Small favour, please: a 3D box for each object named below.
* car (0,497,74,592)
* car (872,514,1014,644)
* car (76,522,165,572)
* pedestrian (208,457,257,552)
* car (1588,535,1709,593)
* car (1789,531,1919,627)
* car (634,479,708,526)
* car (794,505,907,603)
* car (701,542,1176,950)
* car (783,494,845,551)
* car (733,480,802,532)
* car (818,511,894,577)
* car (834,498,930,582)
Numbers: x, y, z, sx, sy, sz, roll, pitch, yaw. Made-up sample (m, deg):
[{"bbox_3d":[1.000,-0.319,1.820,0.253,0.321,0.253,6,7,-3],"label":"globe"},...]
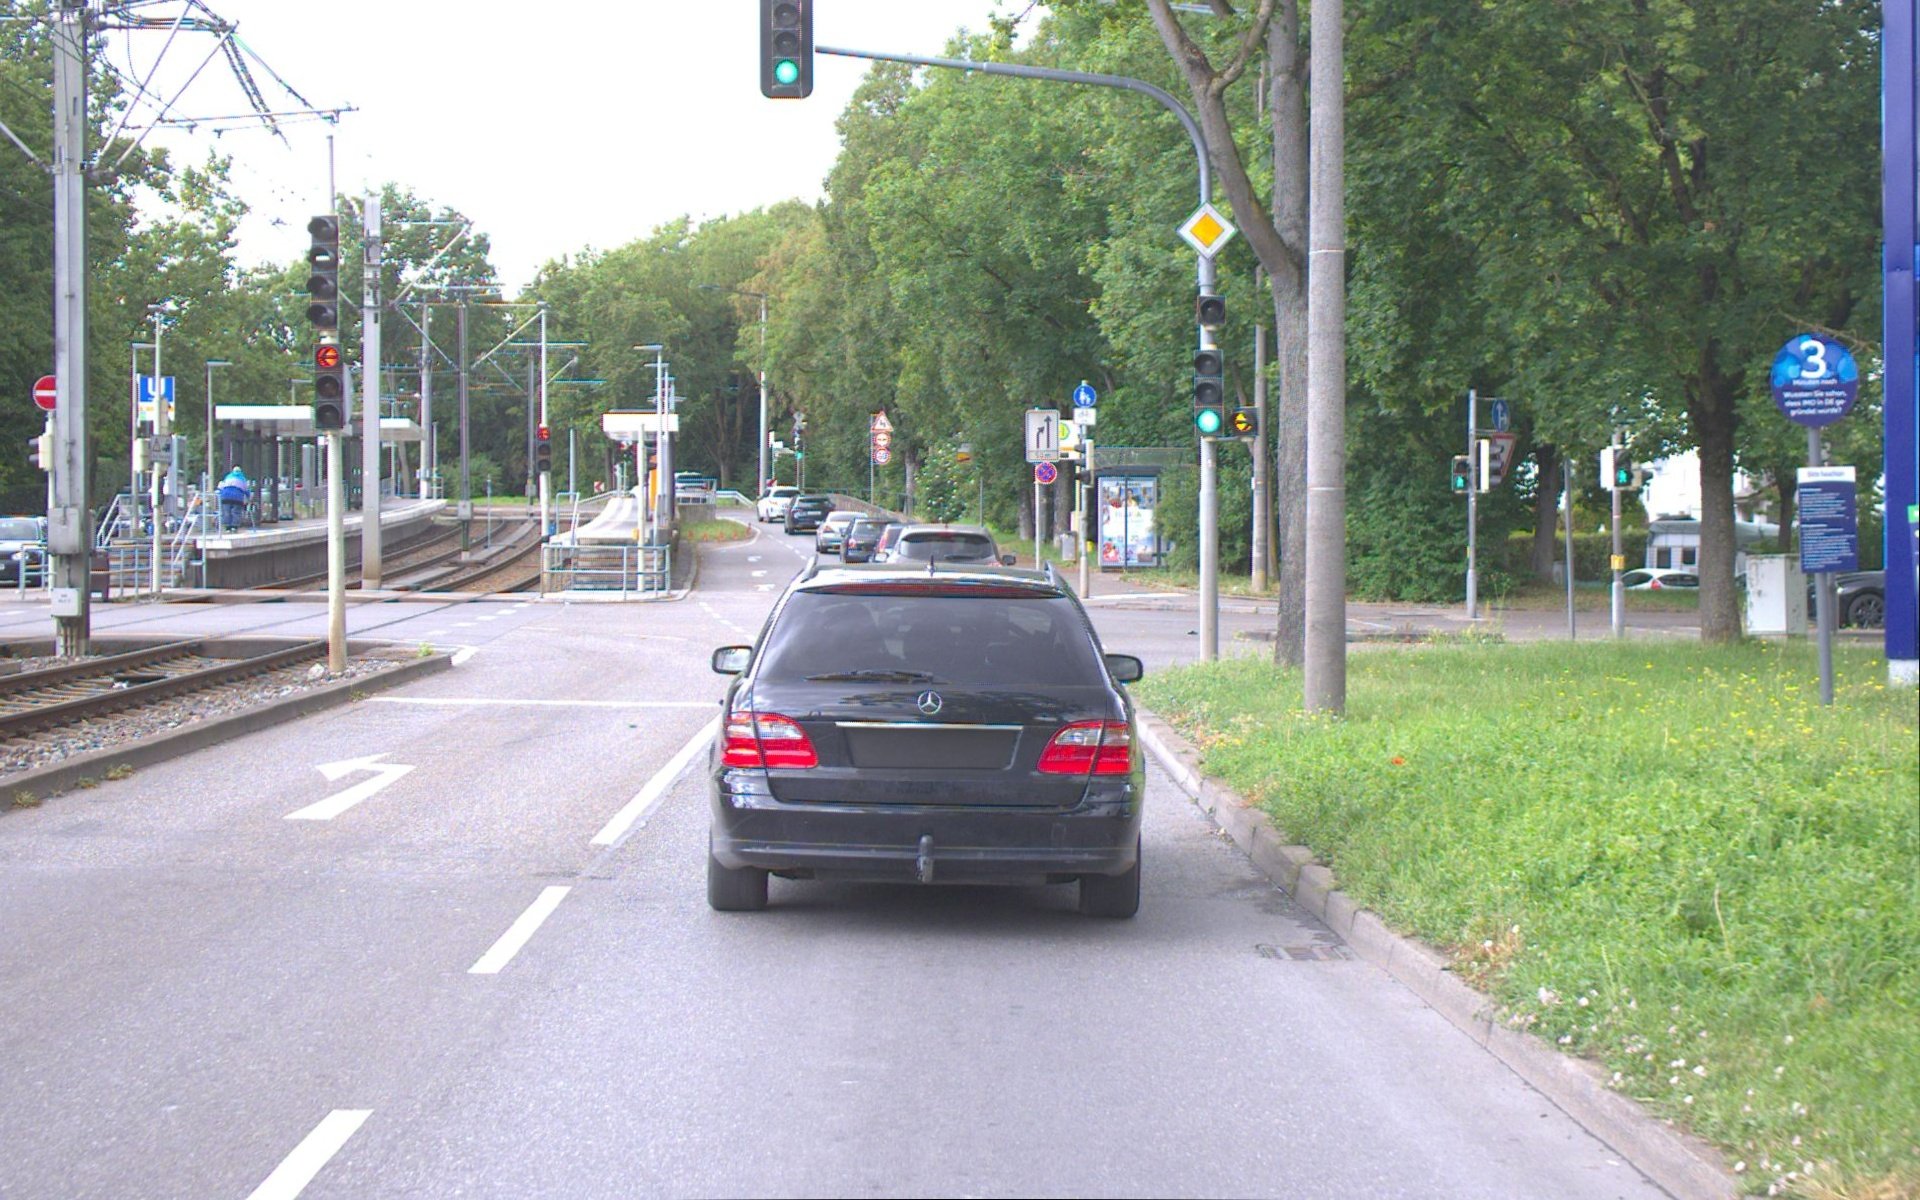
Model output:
[{"bbox_3d":[-19.491,-1.158,70.786,1.696,1.854,4.001,2,1,-5],"label":"car"},{"bbox_3d":[-0.193,-0.300,47.344,1.782,1.642,4.000,2,1,1],"label":"car"},{"bbox_3d":[-25.555,-1.613,104.743,1.993,1.477,4.507,-1,1,-5],"label":"car"},{"bbox_3d":[-16.755,-2.202,79.195,0.969,2.178,0.976,1,1,-3],"label":"pedestrian"},{"bbox_3d":[17.713,-0.938,88.580,1.478,1.381,3.841,2,1,-14],"label":"car"},{"bbox_3d":[15.567,-0.340,55.209,4.153,1.521,1.704,0,0,4],"label":"car"},{"bbox_3d":[-13.079,-4.430,155.590,1.993,2.007,4.001,2,1,-25],"label":"car"},{"bbox_3d":[-1.947,-0.820,62.234,1.782,1.642,4.000,2,1,1],"label":"car"},{"bbox_3d":[-0.228,0.531,15.177,1.781,1.520,4.001,1,1,-4],"label":"car"},{"bbox_3d":[-5.344,-2.806,125.633,1.993,1.960,4.001,2,1,-5],"label":"car"},{"bbox_3d":[-7.970,-3.871,142.238,1.993,2.007,4.001,2,1,-15],"label":"car"},{"bbox_3d":[-3.189,-1.693,104.477,1.993,1.886,4.001,2,1,-5],"label":"car"},{"bbox_3d":[-1.917,-1.441,83.169,1.993,1.911,4.001,2,1,-5],"label":"car"}]
